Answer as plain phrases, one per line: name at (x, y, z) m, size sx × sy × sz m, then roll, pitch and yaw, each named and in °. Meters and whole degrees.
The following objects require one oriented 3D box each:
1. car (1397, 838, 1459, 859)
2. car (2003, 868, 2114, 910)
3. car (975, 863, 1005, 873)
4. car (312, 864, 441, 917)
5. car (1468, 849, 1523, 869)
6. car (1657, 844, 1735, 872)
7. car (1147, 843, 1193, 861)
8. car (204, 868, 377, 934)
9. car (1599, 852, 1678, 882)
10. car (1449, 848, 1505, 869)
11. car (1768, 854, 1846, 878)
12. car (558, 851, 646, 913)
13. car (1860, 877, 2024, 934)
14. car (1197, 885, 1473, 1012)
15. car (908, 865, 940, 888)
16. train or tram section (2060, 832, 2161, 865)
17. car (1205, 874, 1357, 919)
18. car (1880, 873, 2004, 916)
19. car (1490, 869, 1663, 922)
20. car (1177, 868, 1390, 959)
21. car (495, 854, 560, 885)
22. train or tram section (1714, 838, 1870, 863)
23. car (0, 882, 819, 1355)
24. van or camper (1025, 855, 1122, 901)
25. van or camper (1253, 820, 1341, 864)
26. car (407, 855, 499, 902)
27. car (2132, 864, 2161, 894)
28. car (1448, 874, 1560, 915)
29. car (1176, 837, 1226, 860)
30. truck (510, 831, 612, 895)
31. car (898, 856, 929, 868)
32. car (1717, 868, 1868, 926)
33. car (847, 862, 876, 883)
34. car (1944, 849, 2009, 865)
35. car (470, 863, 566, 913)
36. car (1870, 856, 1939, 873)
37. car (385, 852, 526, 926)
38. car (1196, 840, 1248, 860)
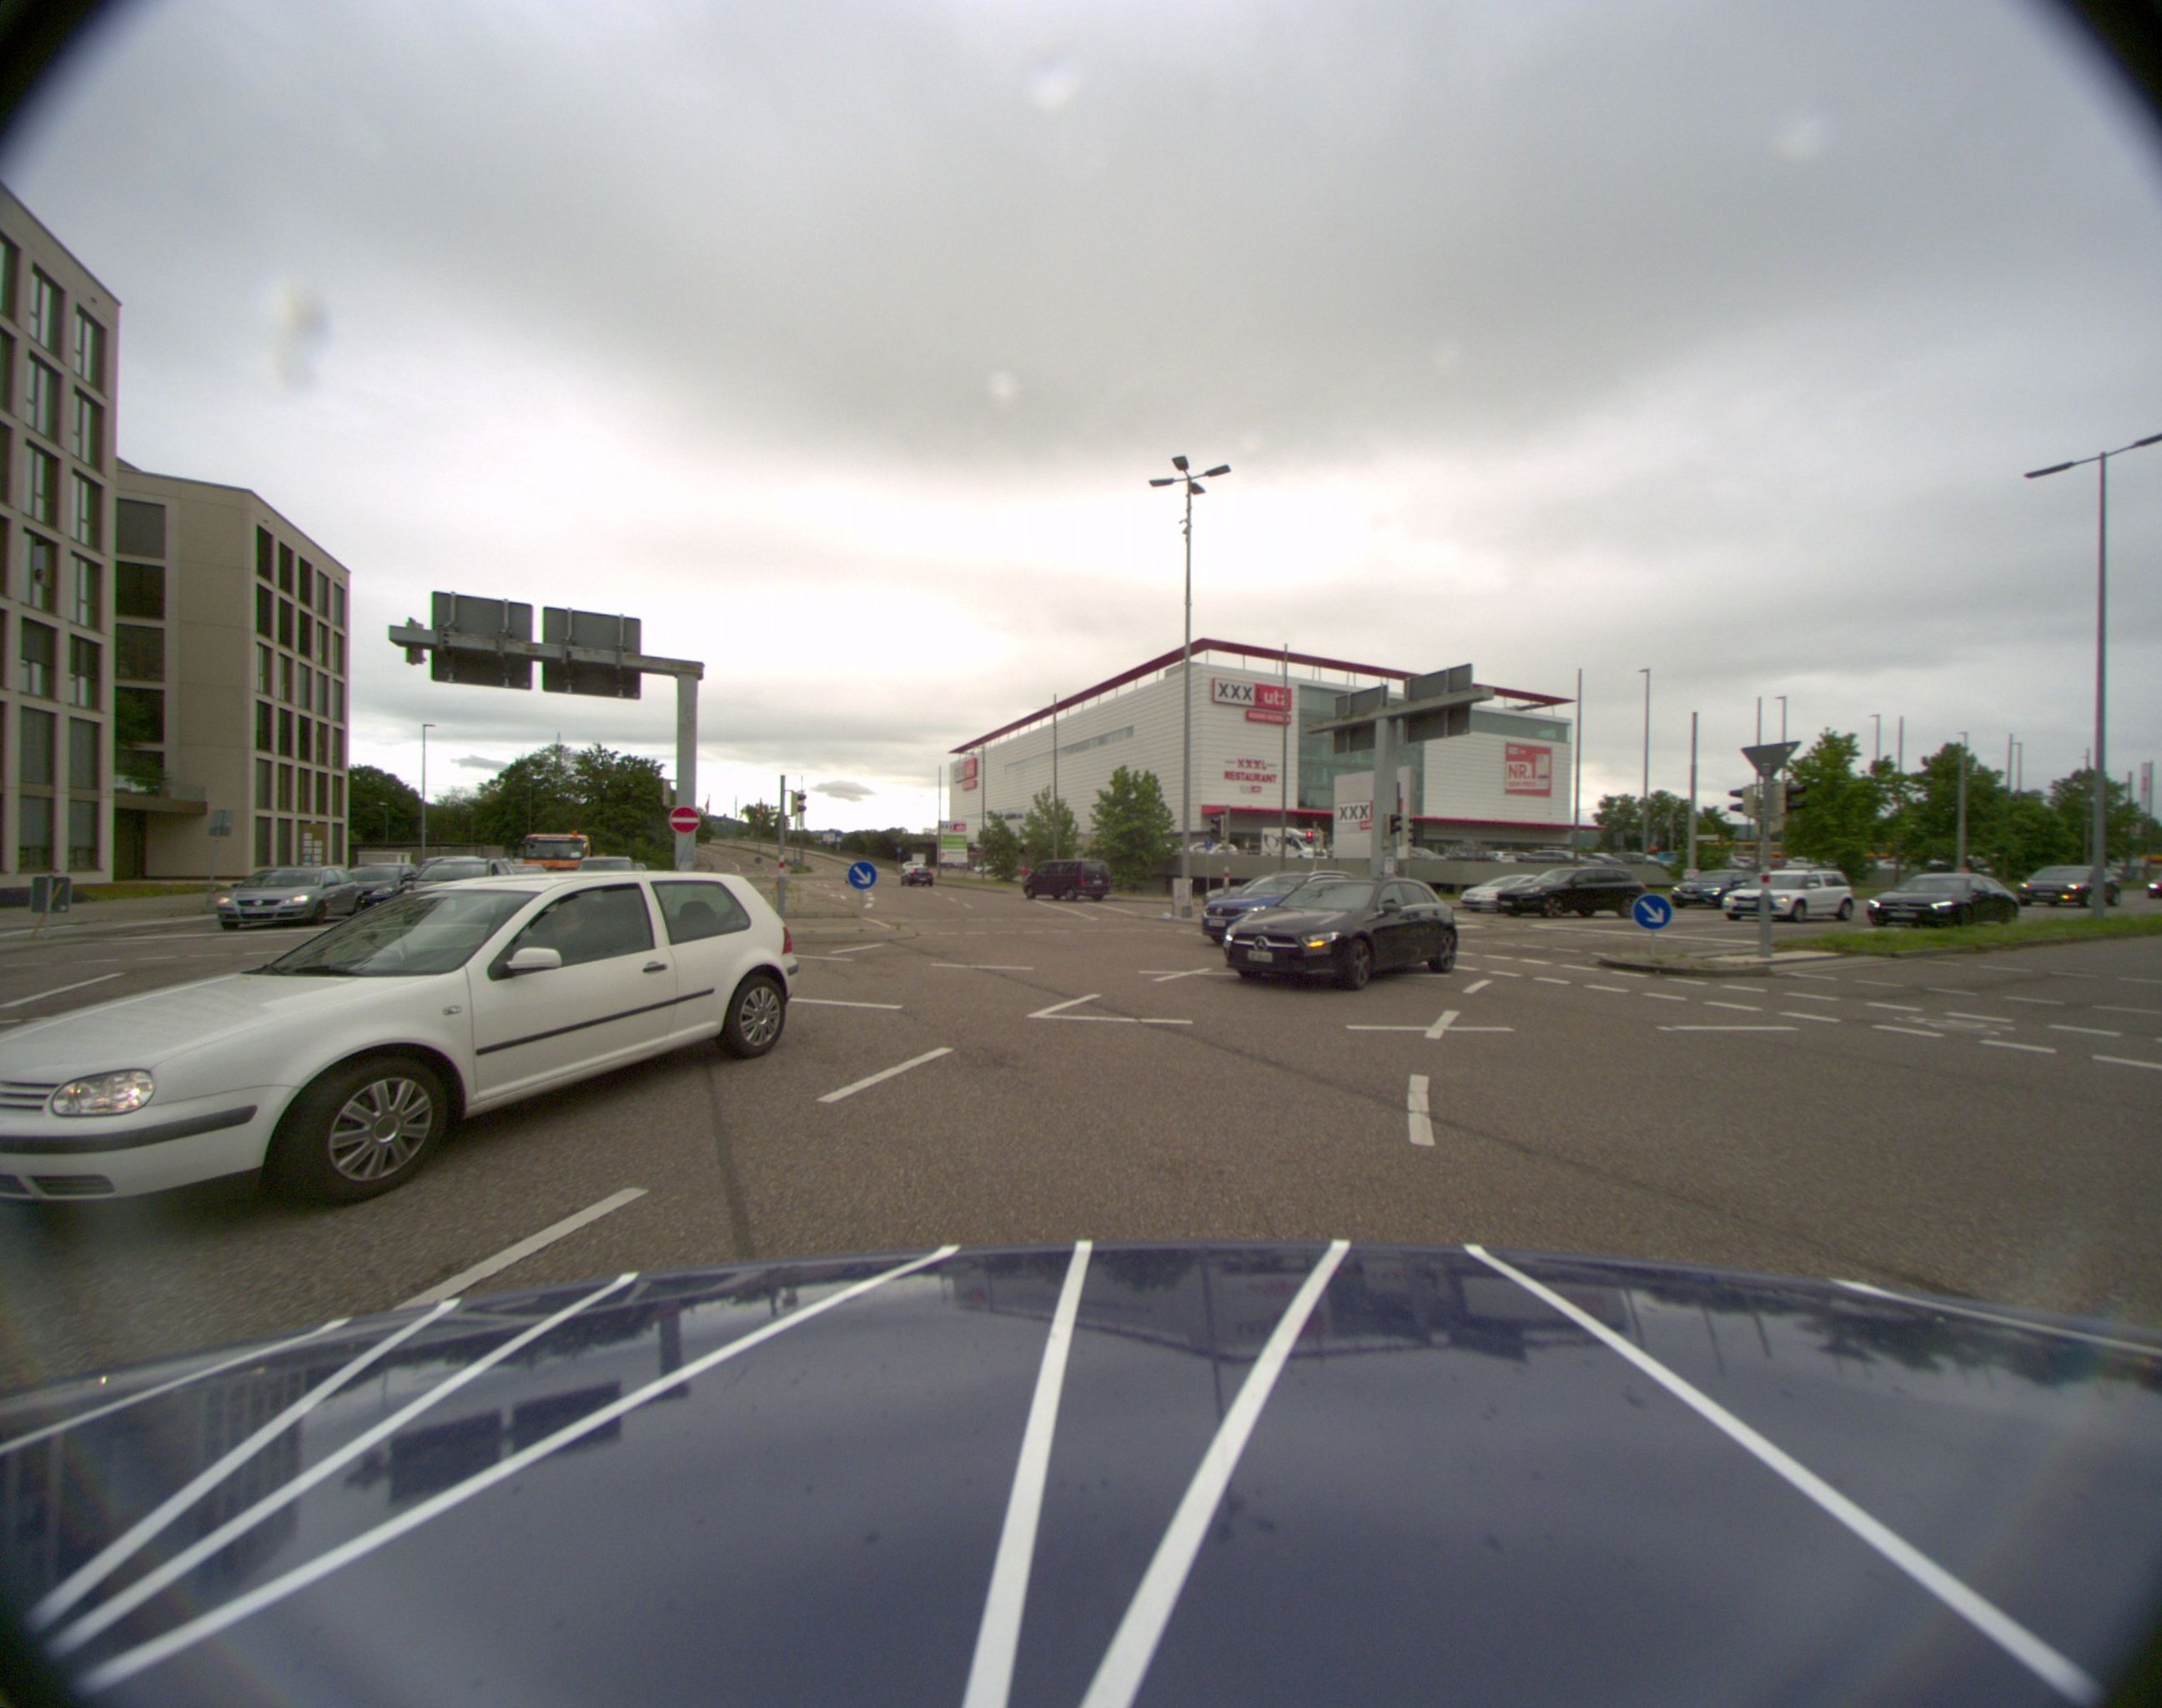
car at (26.434, -0.383, 57.924) m, size 1.872 × 1.428 × 3.986 m, roll -1°, pitch -1°, yaw -27°
car at (40.455, 1.413, 31.434) m, size 4.224 × 1.564 × 1.799 m, roll -1°, pitch -1°, yaw -23°
car at (-13.903, 2.137, 115.878) m, size 4.203 × 1.600 × 1.719 m, roll 0°, pitch -2°, yaw -26°
car at (-21.780, 1.098, 23.705) m, size 1.875 × 1.481 × 4.141 m, roll -1°, pitch -1°, yaw -27°
car at (37.778, 0.506, 69.350) m, size 2.003 × 1.728 × 3.992 m, roll -1°, pitch -1°, yaw -26°
car at (45.628, 0.319, 56.477) m, size 2.003 × 2.001 × 3.992 m, roll -1°, pitch -1°, yaw -25°
car at (8.818, -0.205, 75.377) m, size 4.265 × 1.665 × 1.774 m, roll -1°, pitch -1°, yaw -23°
car at (-19.618, 1.106, 19.106) m, size 1.754 × 1.423 × 4.090 m, roll -1°, pitch -1°, yaw -27°
car at (39.307, 0.909, 53.663) m, size 2.003 × 2.001 × 3.992 m, roll -1°, pitch -1°, yaw -25°
car at (35.424, 0.424, 68.071) m, size 2.003 × 1.728 × 3.992 m, roll -1°, pitch -1°, yaw -26°
car at (61.889, 1.062, 64.852) m, size 2.003 × 2.001 × 4.318 m, roll -1°, pitch -1°, yaw -25°
car at (-14.001, 0.792, 22.411) m, size 1.908 × 1.633 × 4.060 m, roll -1°, pitch -1°, yaw -28°
car at (24.050, 1.377, 21.215) m, size 4.264 × 1.370 × 1.765 m, roll -1°, pitch -1°, yaw -23°
car at (3.772, 1.181, 10.917) m, size 4.205 × 1.426 × 1.855 m, roll 1°, pitch -2°, yaw -41°
car at (-11.526, 1.667, 56.024) m, size 1.905 × 1.440 × 4.180 m, roll -4°, pitch -3°, yaw -7°
train or tram section at (163.844, -0.861, 112.340) m, size 3.638 × 4.810 × 23.237 m, roll -1°, pitch 0°, yaw -27°
car at (6.841, 1.422, 26.200) m, size 4.868 × 1.402 × 1.820 m, roll 0°, pitch -2°, yaw 15°
car at (31.927, 1.455, 28.175) m, size 4.224 × 1.407 × 1.799 m, roll -1°, pitch -1°, yaw -23°
car at (16.037, 1.327, 24.809) m, size 4.368 × 1.615 × 1.802 m, roll 0°, pitch -1°, yaw 9°
car at (4.289, 1.136, 15.887) m, size 4.340 × 1.612 × 1.844 m, roll 0°, pitch -1°, yaw -33°
car at (-31.318, 0.896, 43.103) m, size 2.002 × 1.647 × 4.113 m, roll -1°, pitch -1°, yaw -22°
train or tram section at (143.049, -0.540, 153.815) m, size 3.638 × 4.810 × 23.237 m, roll -1°, pitch 0°, yaw -27°
car at (-3.684, 0.958, 4.686) m, size 1.835 × 1.469 × 4.011 m, roll -1°, pitch -1°, yaw 18°
van or camper at (-0.458, 1.126, 36.040) m, size 2.169 × 2.001 × 4.930 m, roll 3°, pitch -2°, yaw -35°
van or camper at (16.869, -0.843, 59.918) m, size 2.718 × 3.116 × 7.224 m, roll -1°, pitch -1°, yaw -23°
car at (-25.608, 0.998, 31.145) m, size 2.003 × 1.758 × 4.141 m, roll -1°, pitch -1°, yaw -27°
car at (55.657, 1.241, 38.580) m, size 4.224 × 1.407 × 1.799 m, roll -1°, pitch -1°, yaw -23°
car at (15.992, 1.490, 28.720) m, size 3.932 × 1.363 × 1.692 m, roll -1°, pitch -1°, yaw -25°
car at (11.071, -0.513, 70.142) m, size 4.004 × 2.001 × 1.997 m, roll -1°, pitch -1°, yaw -22°
truck at (-23.527, 0.444, 34.750) m, size 2.825 × 2.622 × 6.662 m, roll -1°, pitch -1°, yaw -25°
car at (-24.132, 1.165, 109.270) m, size 4.201 × 1.600 × 1.720 m, roll 0°, pitch -1°, yaw -19°
car at (22.340, 1.306, 23.869) m, size 4.379 × 1.615 × 1.797 m, roll -1°, pitch -1°, yaw -23°
car at (-16.418, 1.413, 56.957) m, size 1.836 × 1.401 × 4.193 m, roll 4°, pitch -3°, yaw -14°
car at (92.914, 0.352, 78.898) m, size 1.799 × 1.556 × 3.993 m, roll -1°, pitch -1°, yaw -23°
car at (-19.681, 1.144, 26.752) m, size 2.003 × 1.592 × 3.992 m, roll -1°, pitch -1°, yaw -26°
car at (77.152, 1.004, 71.245) m, size 1.799 × 1.556 × 3.993 m, roll -1°, pitch -1°, yaw -23°
car at (-16.620, 0.894, 20.458) m, size 2.003 × 1.758 × 4.413 m, roll -1°, pitch -1°, yaw -27°
car at (12.370, -0.339, 66.706) m, size 4.265 × 1.665 × 1.774 m, roll -1°, pitch -1°, yaw -23°
